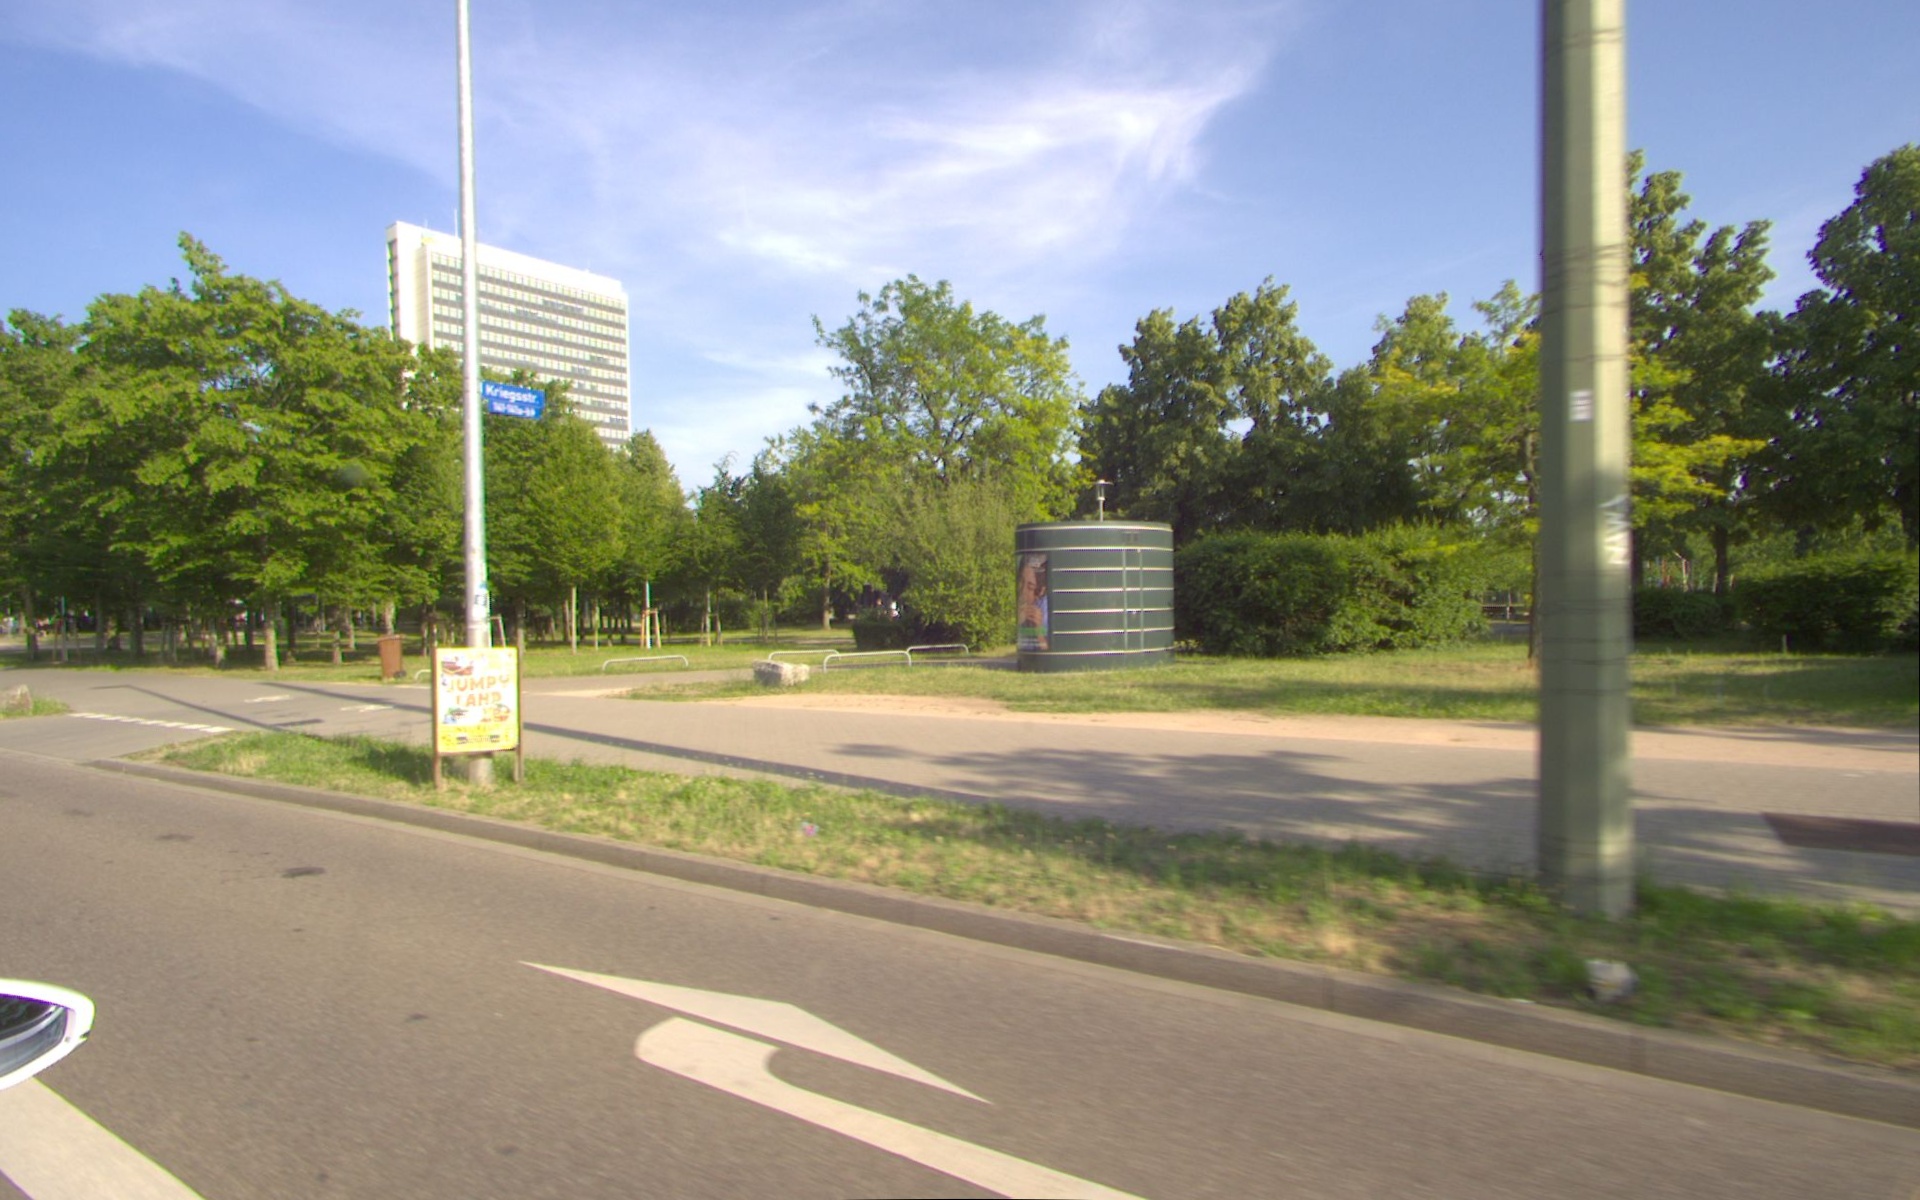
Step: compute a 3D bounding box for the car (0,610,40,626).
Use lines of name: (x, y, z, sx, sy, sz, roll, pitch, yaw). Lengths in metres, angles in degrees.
car: (-109.387, 2.098, 116.138, 3.959, 1.673, 1.981, -1, 0, -43)

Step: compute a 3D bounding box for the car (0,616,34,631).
car: (-105.902, 2.610, 111.264, 1.961, 1.673, 3.999, -1, 0, 6)
